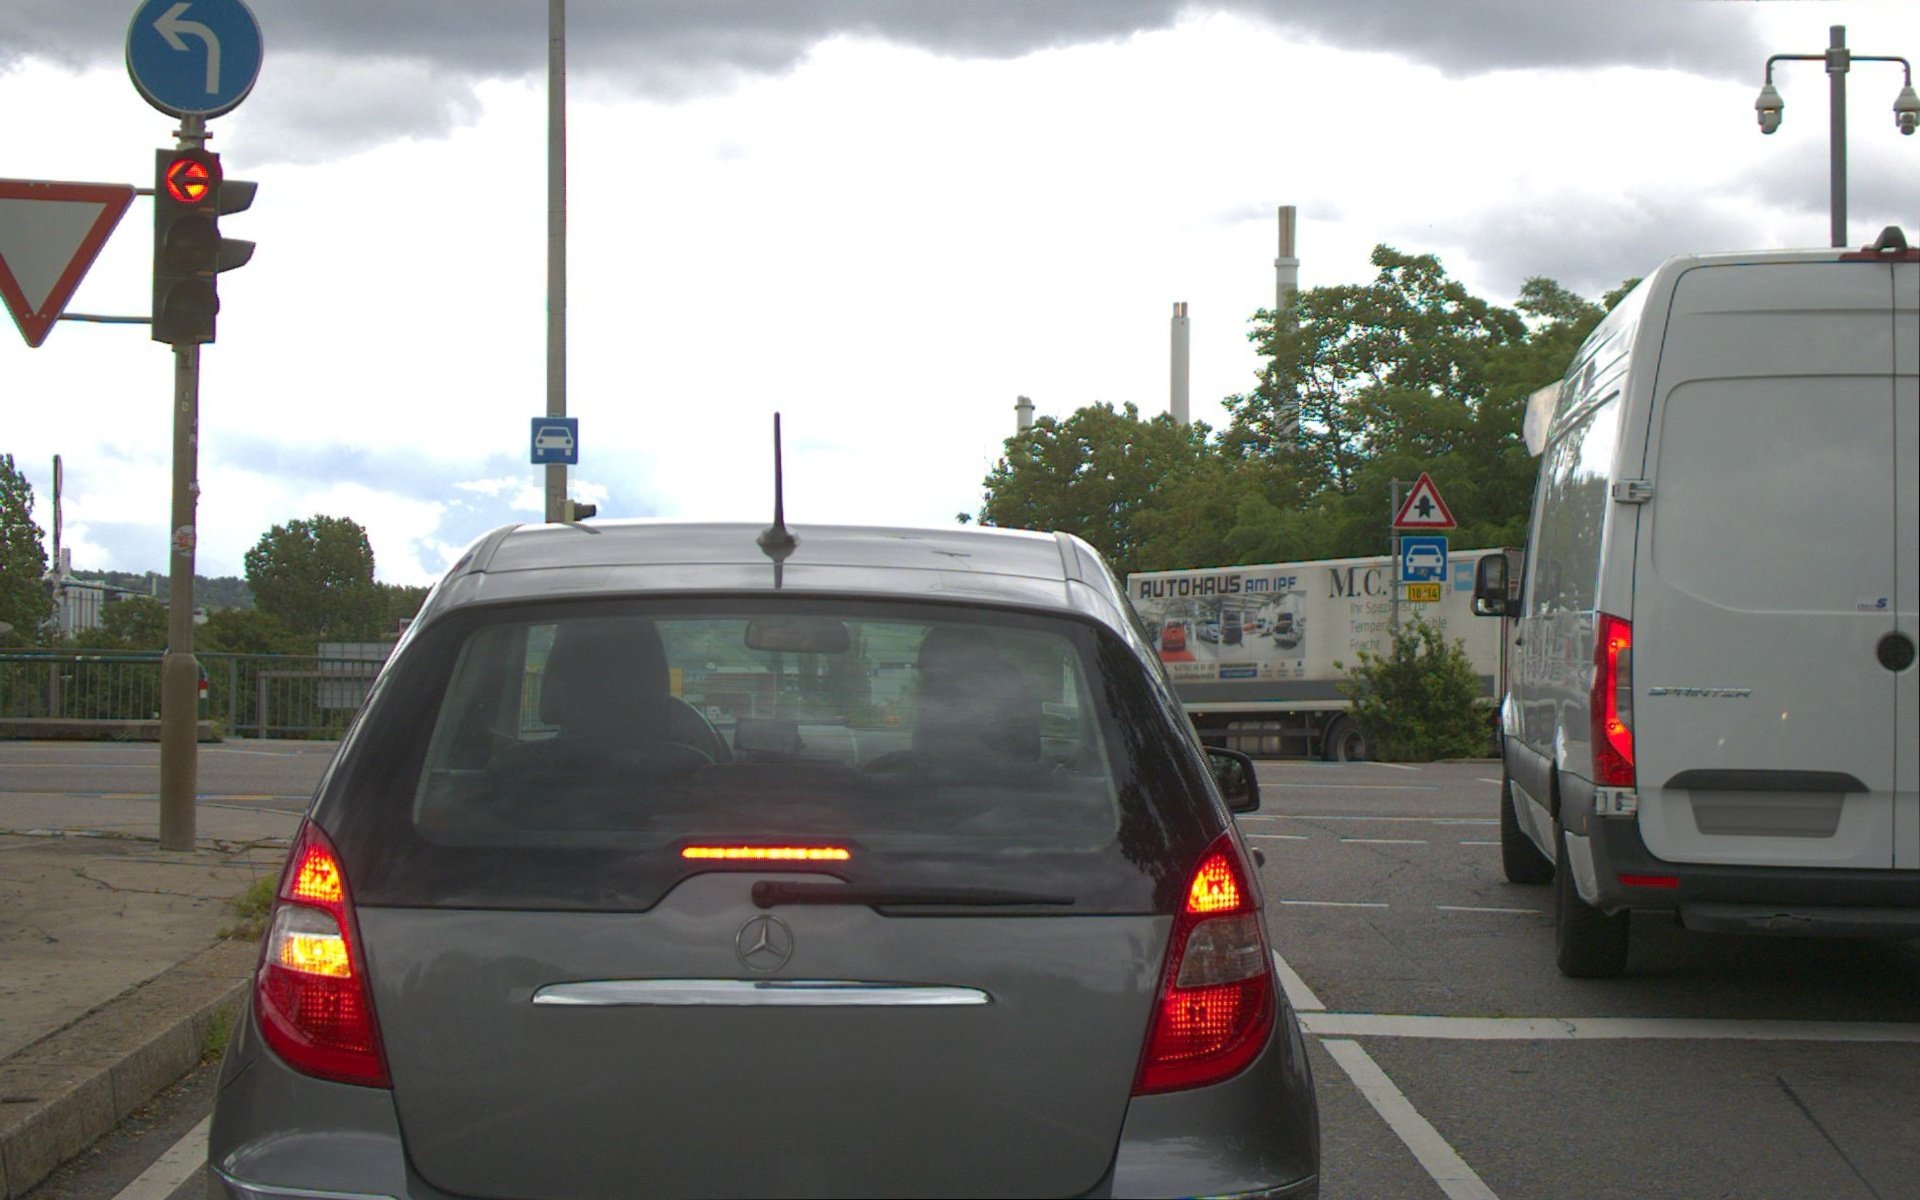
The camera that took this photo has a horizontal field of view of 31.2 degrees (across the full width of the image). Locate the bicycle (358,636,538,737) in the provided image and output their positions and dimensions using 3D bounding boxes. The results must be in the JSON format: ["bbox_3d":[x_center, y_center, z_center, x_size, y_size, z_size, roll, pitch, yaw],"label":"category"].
[{"bbox_3d":[-5.969,0.995,40.068,2.032,1.121,0.929,0,1,-11],"label":"bicycle"}]

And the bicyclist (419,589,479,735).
[{"bbox_3d":[-5.957,0.710,40.076,0.653,1.668,0.870,0,1,-11],"label":"bicyclist"}]

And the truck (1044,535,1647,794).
[{"bbox_3d":[5.580,0.801,52.264,2.790,3.506,10.245,-1,2,-37],"label":"truck"}]

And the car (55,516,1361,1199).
[{"bbox_3d":[-0.309,0.635,6.895,1.858,1.582,4.000,0,2,2],"label":"car"}]

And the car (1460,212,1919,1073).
[{"bbox_3d":[3.345,0.059,14.449,2.111,2.774,6.779,0,1,5],"label":"car"}]

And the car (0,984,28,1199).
[{"bbox_3d":[-13.957,6.807,43.721,2.361,3.229,7.660,0,-2,-2],"label":"car"}]
